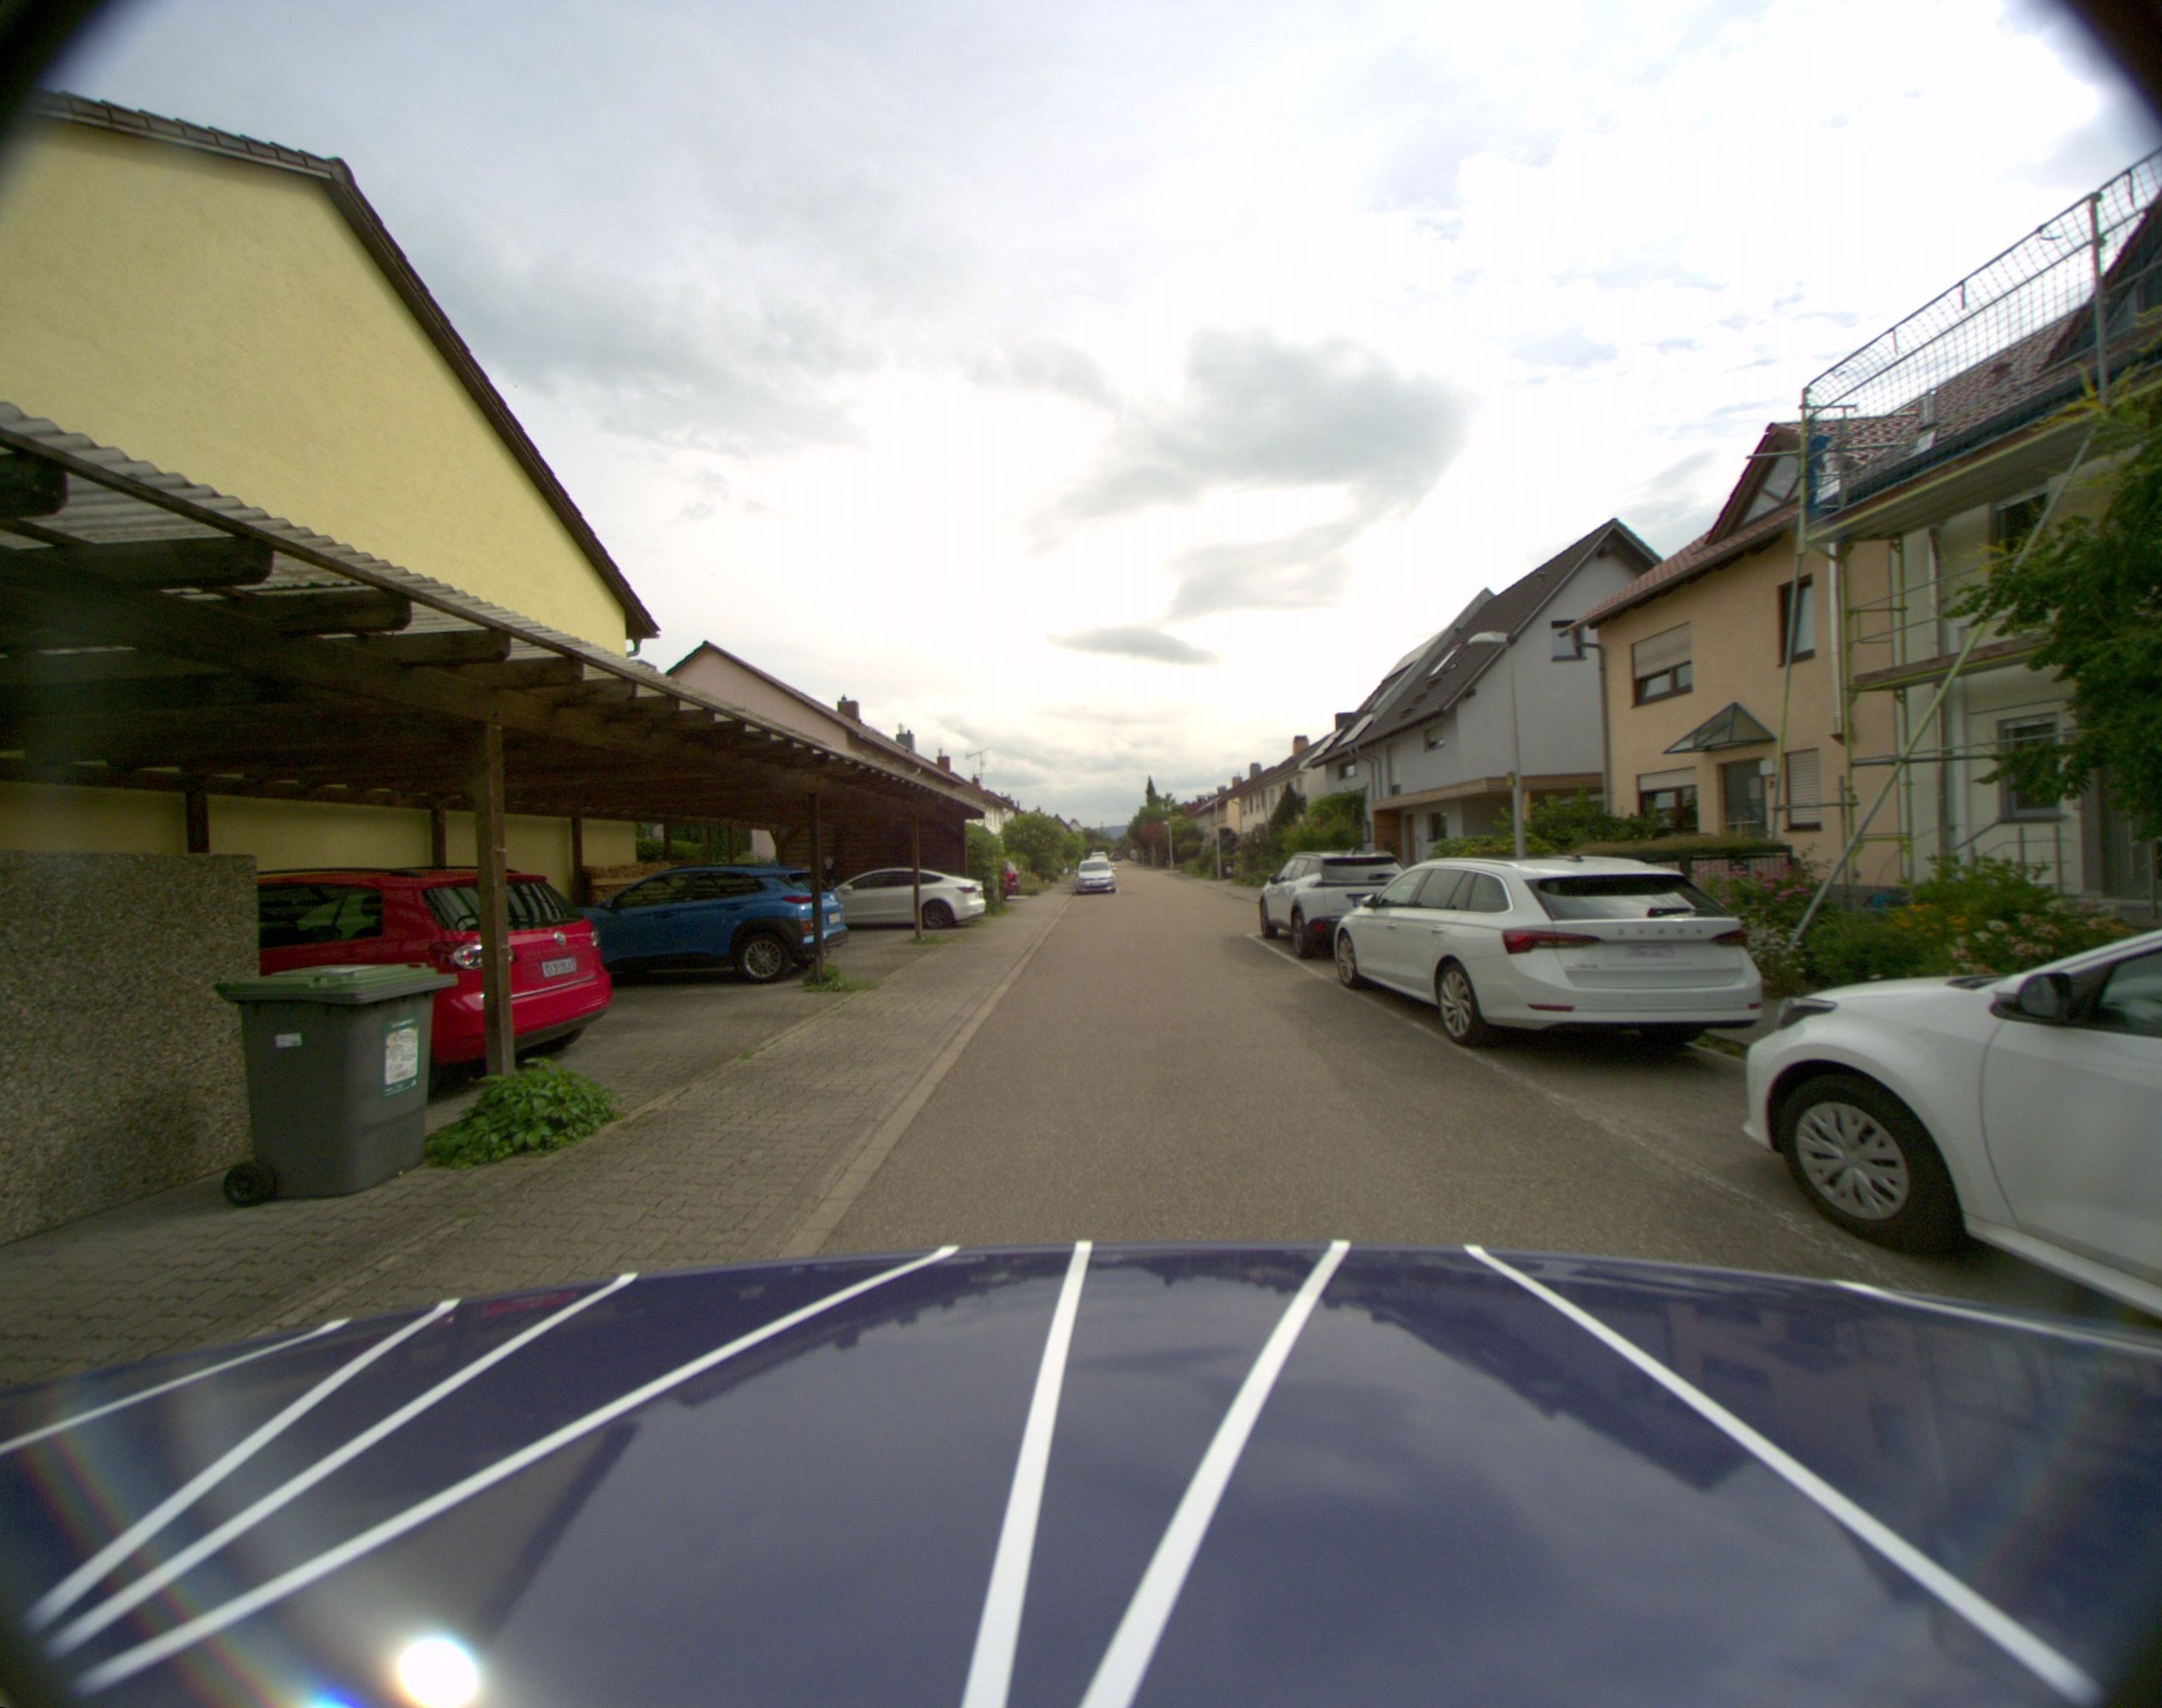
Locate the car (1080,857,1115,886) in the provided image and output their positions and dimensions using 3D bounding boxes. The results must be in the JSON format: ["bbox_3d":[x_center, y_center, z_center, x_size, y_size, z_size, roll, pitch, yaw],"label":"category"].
[{"bbox_3d":[0.988,0.947,43.898,1.778,1.427,4.826,-4,0,2],"label":"car"}]

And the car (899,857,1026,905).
[{"bbox_3d":[-4.286,0.958,27.921,4.280,1.551,1.935,-2,0,2],"label":"car"}]

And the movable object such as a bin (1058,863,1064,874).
[{"bbox_3d":[-1.744,1.266,64.966,0.432,0.916,0.465,-4,1,-3],"label":"movable object such as a bin"}]

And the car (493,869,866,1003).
[{"bbox_3d":[-5.292,1.046,10.498,4.056,1.513,1.950,-2,0,-1],"label":"car"}]

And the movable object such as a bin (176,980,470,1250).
[{"bbox_3d":[-3.659,1.220,3.740,0.701,1.066,0.711,-1,0,-1],"label":"movable object such as a bin"}]

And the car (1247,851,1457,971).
[{"bbox_3d":[4.141,0.768,12.529,1.938,1.547,4.635,-2,0,2],"label":"car"}]

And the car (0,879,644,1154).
[{"bbox_3d":[-5.758,1.047,5.588,3.967,1.531,1.839,-2,0,-1],"label":"car"}]

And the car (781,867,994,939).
[{"bbox_3d":[-4.443,1.120,18.016,4.461,1.424,2.027,-2,0,0],"label":"car"}]

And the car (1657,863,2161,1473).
[{"bbox_3d":[3.694,0.833,1.678,1.796,1.522,4.140,-2,0,2],"label":"car"}]

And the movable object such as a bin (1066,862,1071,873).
[{"bbox_3d":[-1.063,1.132,65.098,0.408,0.916,0.421,-2,0,-3],"label":"movable object such as a bin"}]

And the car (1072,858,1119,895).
[{"bbox_3d":[0.577,0.947,33.572,1.869,1.408,4.253,-3,0,0],"label":"car"}]

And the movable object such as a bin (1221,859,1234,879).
[{"bbox_3d":[7.746,0.770,40.172,0.603,1.021,0.665,-2,1,3],"label":"movable object such as a bin"}]

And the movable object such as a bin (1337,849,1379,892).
[{"bbox_3d":[8.662,0.512,23.788,0.952,1.304,1.001,-2,0,1],"label":"movable object such as a bin"}]

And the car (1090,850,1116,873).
[{"bbox_3d":[1.647,0.559,57.852,1.718,1.534,3.973,-4,0,0],"label":"car"}]

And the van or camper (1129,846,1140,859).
[{"bbox_3d":[12.089,-0.259,171.639,2.346,2.719,5.748,-3,0,2],"label":"van or camper"}]

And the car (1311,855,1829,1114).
[{"bbox_3d":[3.766,0.822,7.140,1.814,1.553,4.848,-2,0,2],"label":"car"}]

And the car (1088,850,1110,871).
[{"bbox_3d":[1.783,0.654,77.111,2.026,1.936,4.747,-2,0,0],"label":"car"}]
